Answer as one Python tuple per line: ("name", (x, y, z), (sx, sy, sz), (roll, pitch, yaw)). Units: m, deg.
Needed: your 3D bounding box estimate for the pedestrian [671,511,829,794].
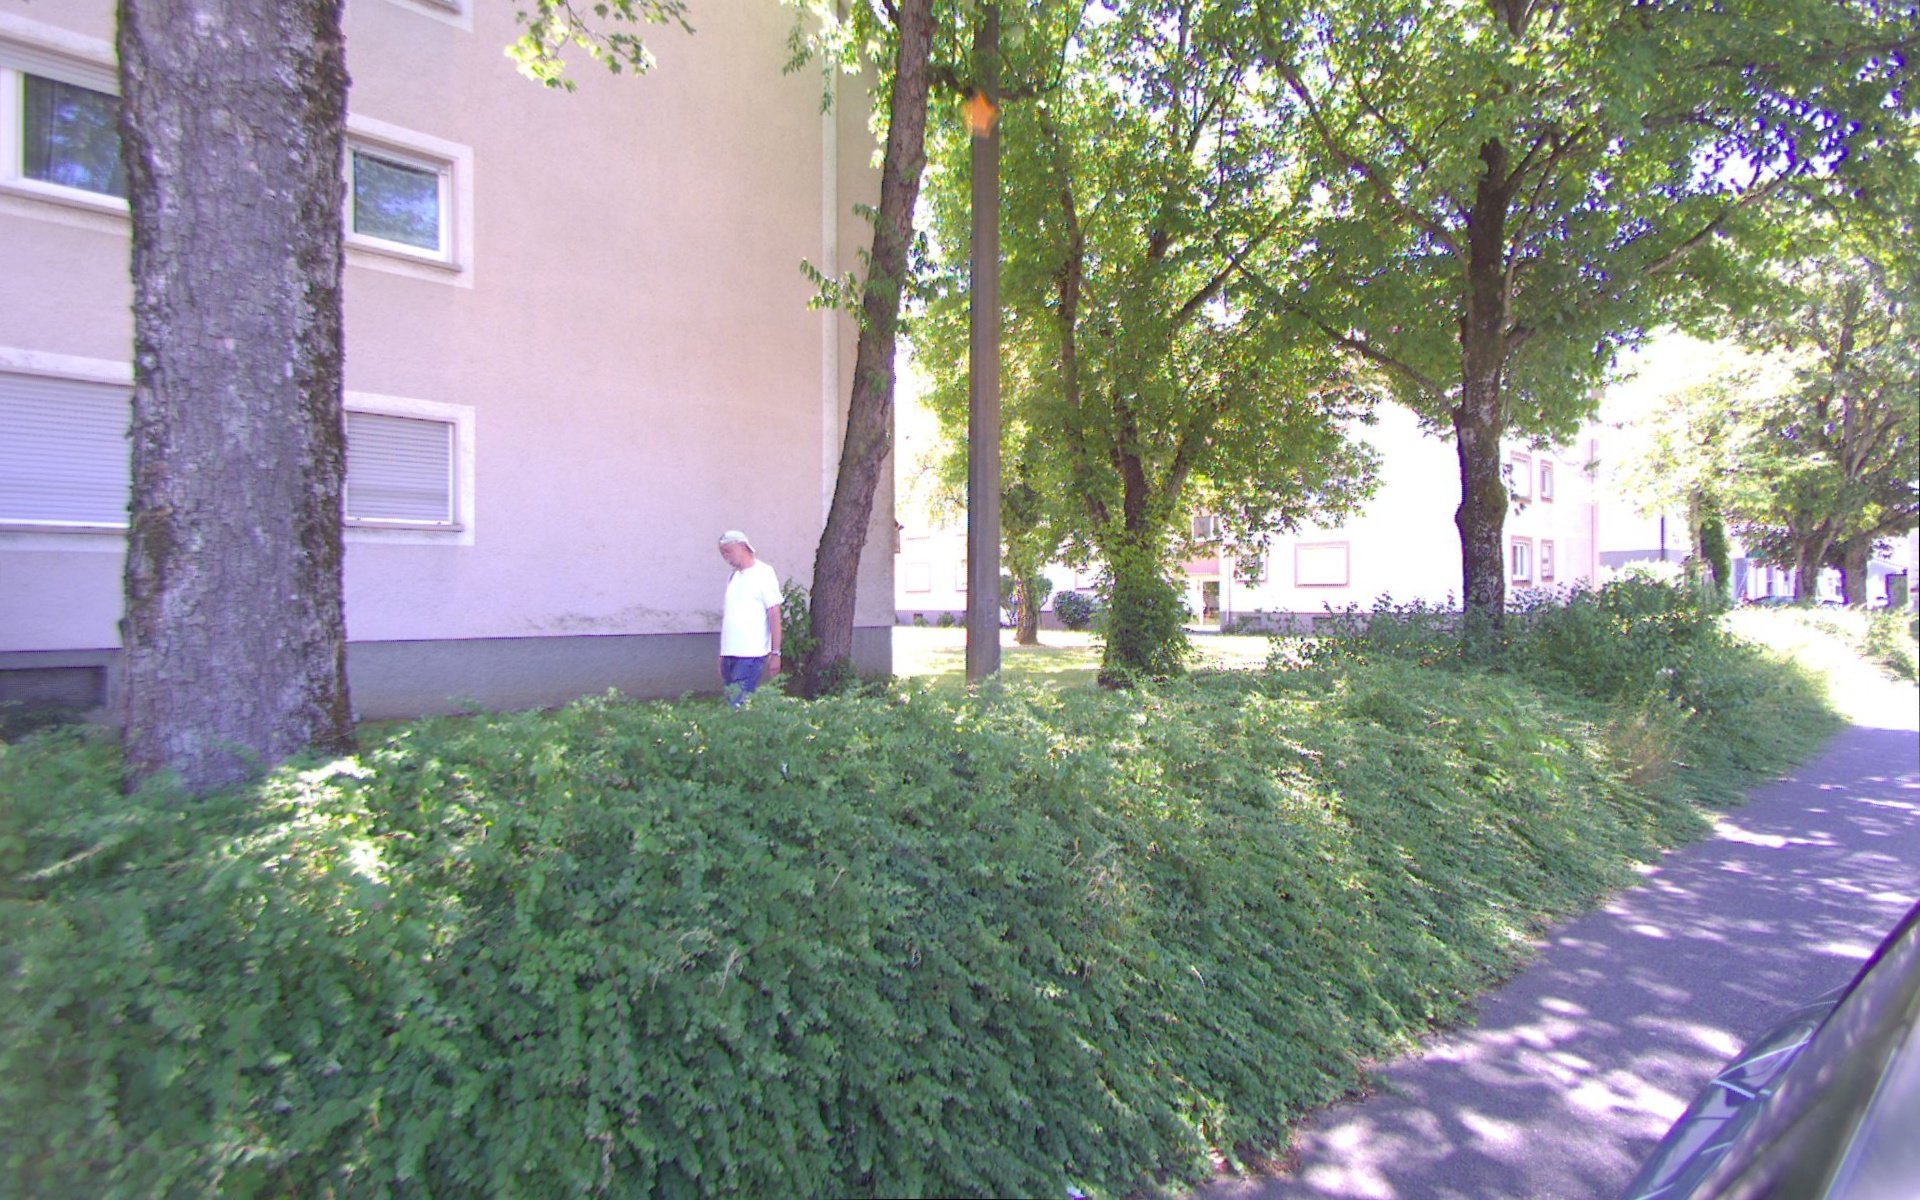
("pedestrian", (-1.509, 0.355, 7.350), (0.668, 1.897, 0.894), (-2, -1, 28))
